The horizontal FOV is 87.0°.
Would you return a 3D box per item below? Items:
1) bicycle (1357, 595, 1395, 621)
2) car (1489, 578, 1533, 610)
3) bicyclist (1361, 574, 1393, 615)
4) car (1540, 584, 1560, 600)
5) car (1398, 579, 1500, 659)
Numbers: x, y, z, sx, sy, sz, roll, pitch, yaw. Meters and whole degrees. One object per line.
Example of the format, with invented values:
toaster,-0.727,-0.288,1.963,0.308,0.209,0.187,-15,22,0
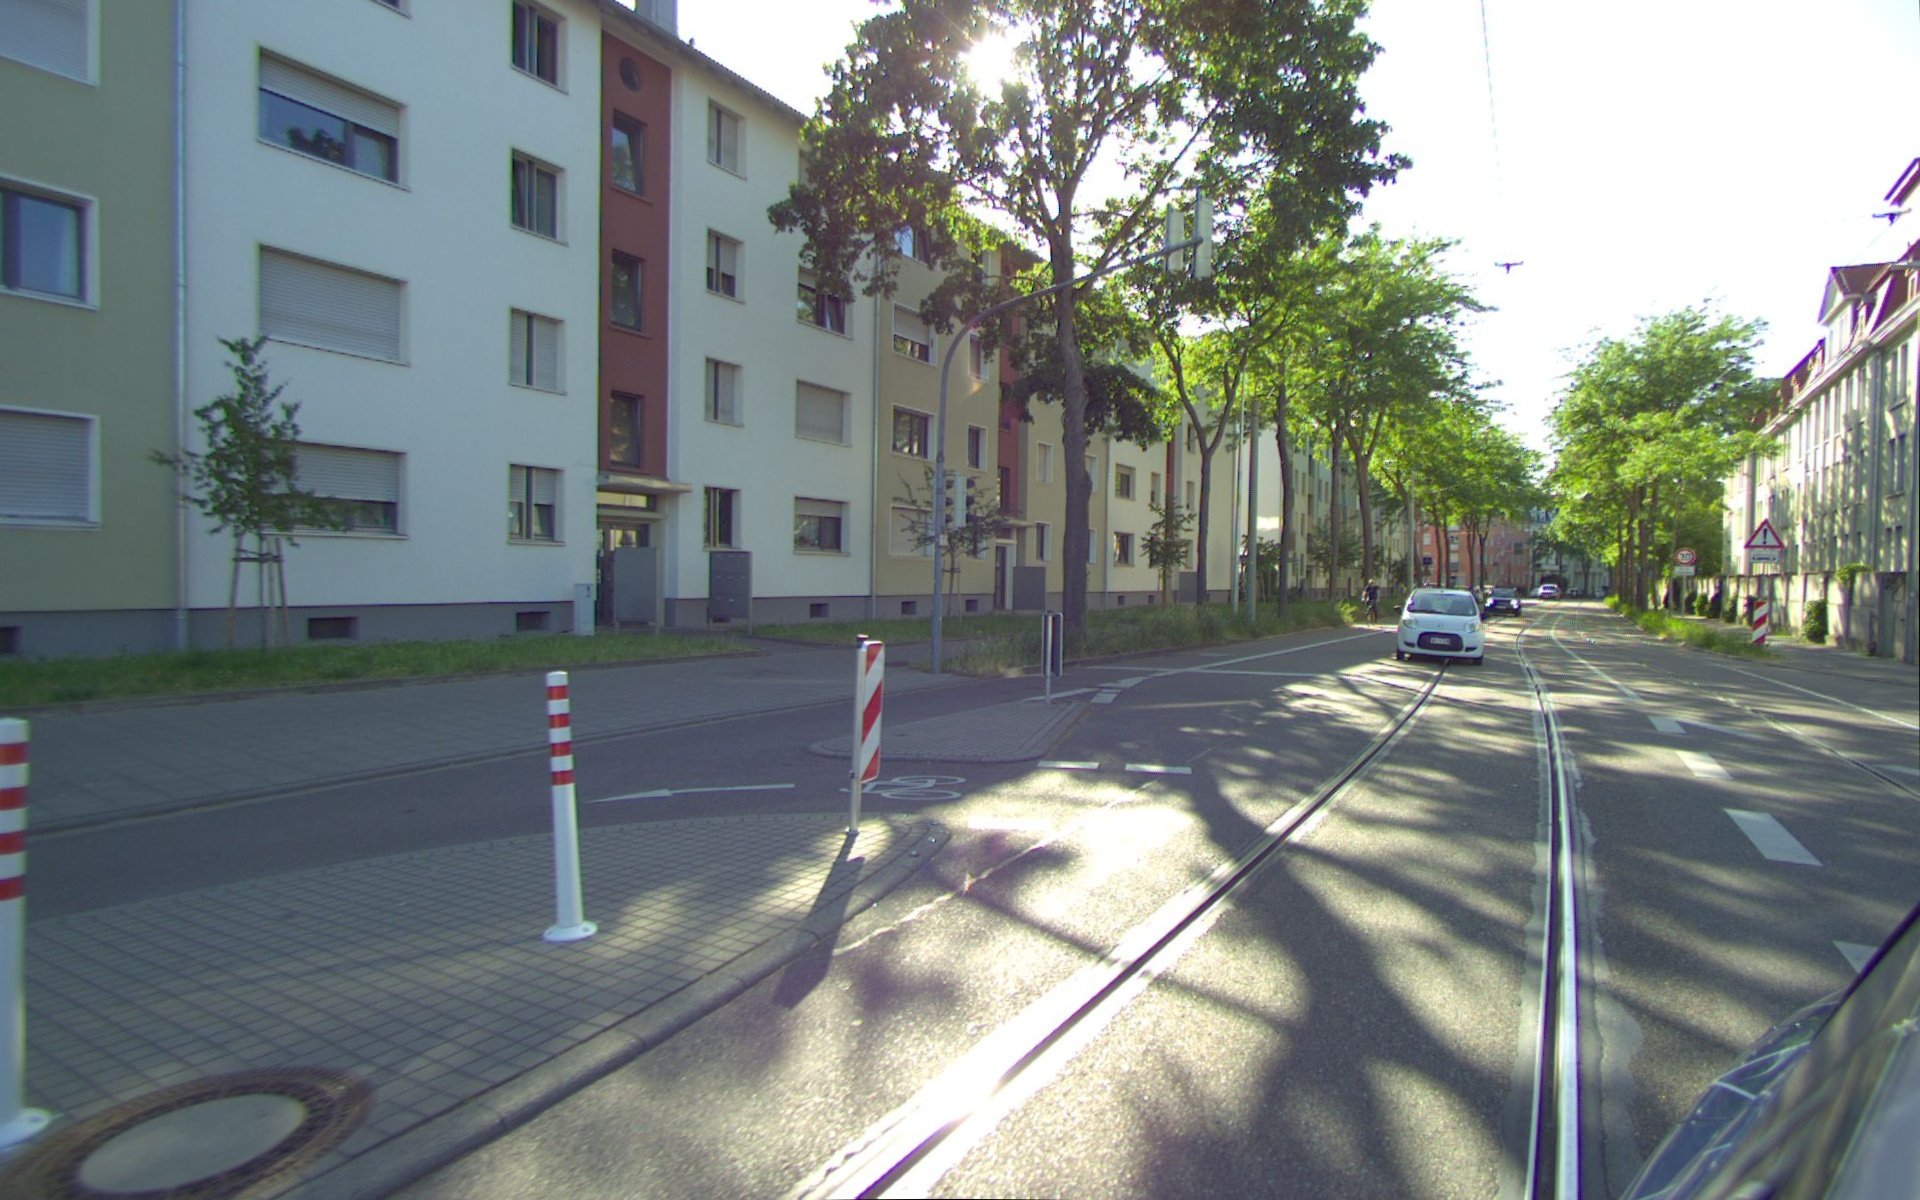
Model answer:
bicycle,15.916,0.298,38.688,0.822,0.896,2.170,2,2,36
car,29.539,-0.348,54.321,1.724,1.595,3.664,2,2,24
bicyclist,15.961,-0.211,38.722,0.814,1.518,1.242,2,1,36
car,66.547,-0.887,114.163,1.809,1.783,3.657,0,1,28
car,10.106,0.323,21.126,1.724,1.477,3.664,2,2,24
